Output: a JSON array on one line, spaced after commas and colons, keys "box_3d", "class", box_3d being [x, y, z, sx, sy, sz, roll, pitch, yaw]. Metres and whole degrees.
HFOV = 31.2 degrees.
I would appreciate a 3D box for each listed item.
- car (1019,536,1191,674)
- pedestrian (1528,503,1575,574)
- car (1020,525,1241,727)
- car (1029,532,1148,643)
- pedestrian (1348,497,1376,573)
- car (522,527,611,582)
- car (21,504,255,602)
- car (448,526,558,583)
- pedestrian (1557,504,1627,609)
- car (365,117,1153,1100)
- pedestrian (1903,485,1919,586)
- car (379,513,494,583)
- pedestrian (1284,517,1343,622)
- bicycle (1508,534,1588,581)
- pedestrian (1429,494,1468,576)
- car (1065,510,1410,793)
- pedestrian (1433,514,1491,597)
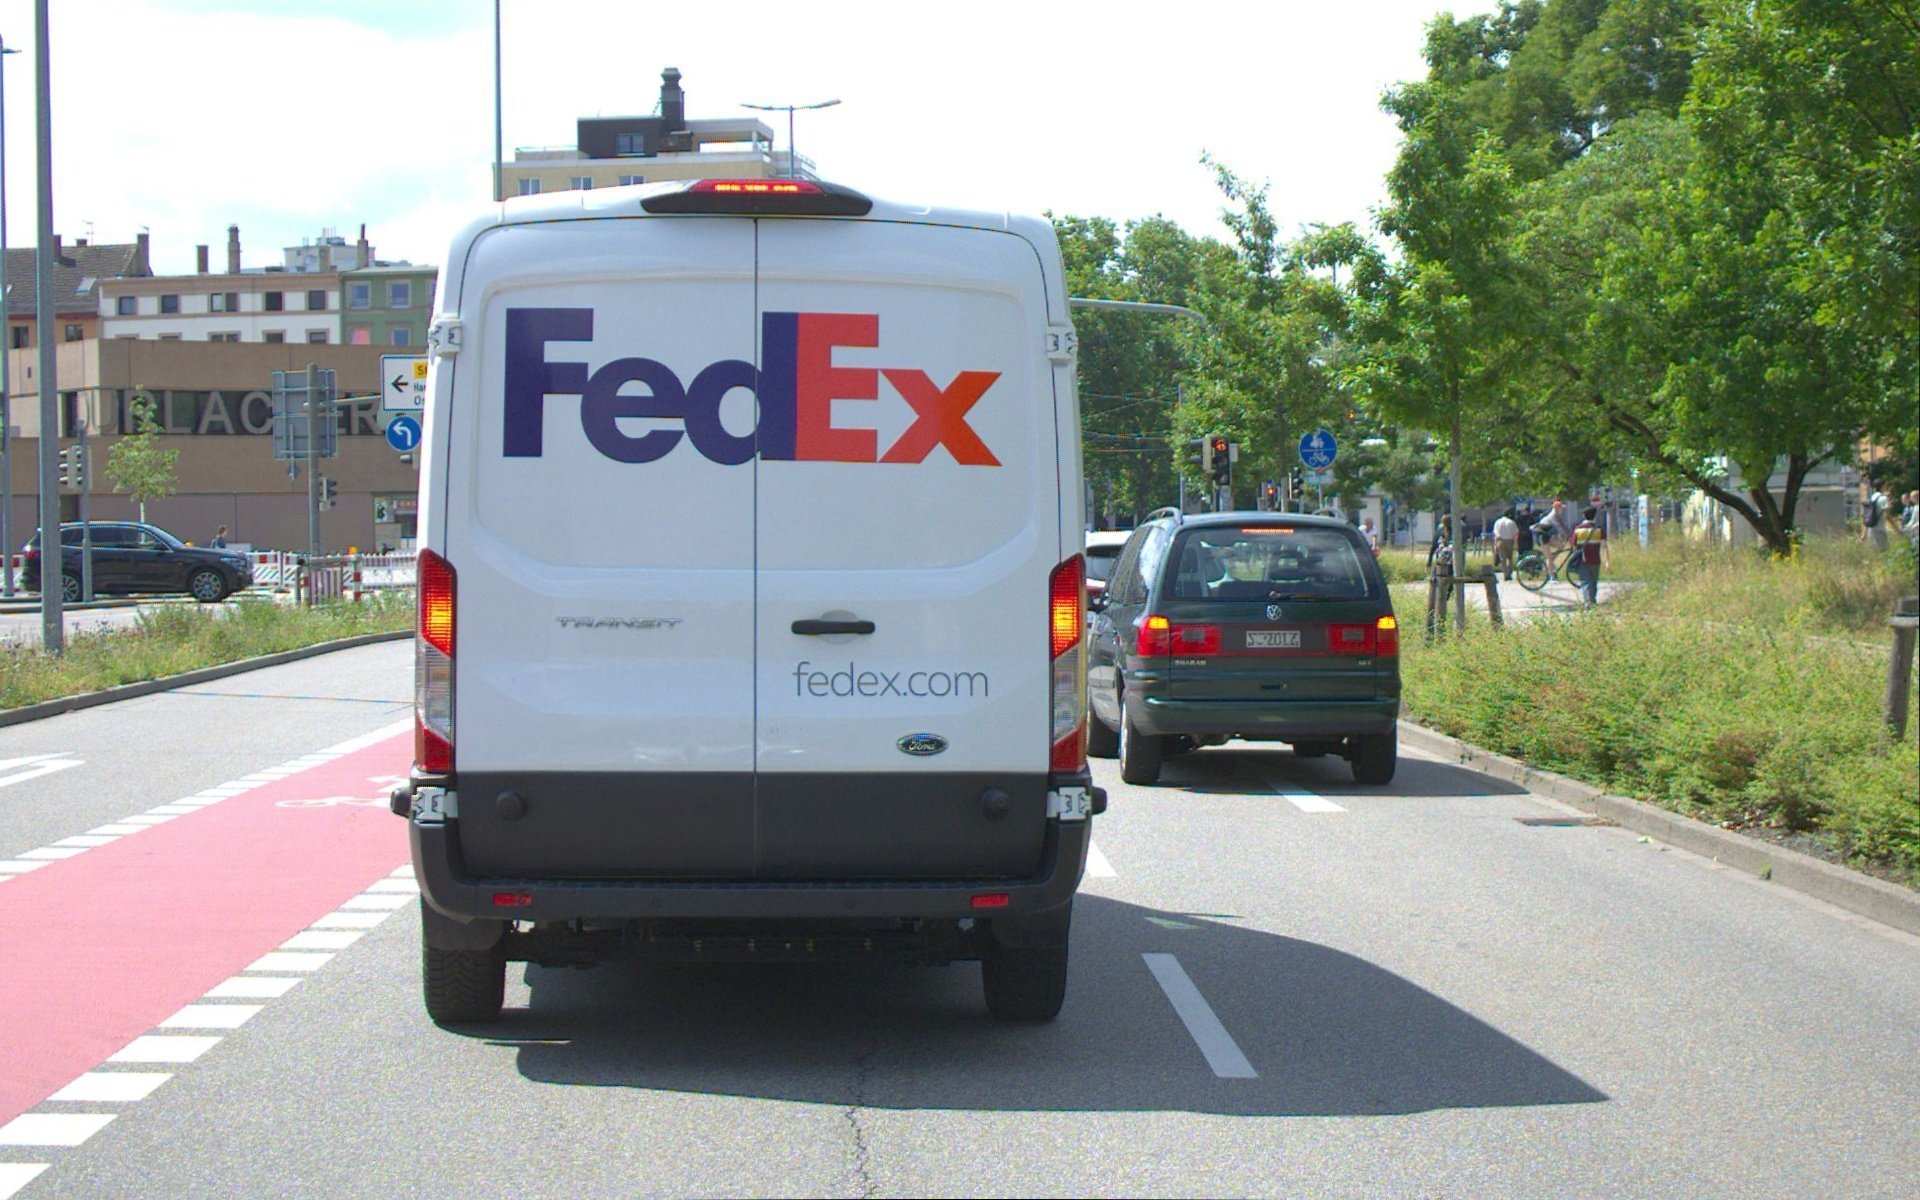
[{"box_3d": [1.615, 0.020, 39.376, 1.798, 1.456, 3.838, -1, 1, 0], "class": "car"}, {"box_3d": [12.281, -1.276, 71.340, 0.900, 1.467, 0.485, 0, 1, 17], "class": "pedestrian"}, {"box_3d": [1.481, 0.177, 31.200, 1.798, 1.681, 4.000, -1, 1, 0], "class": "car"}, {"box_3d": [1.716, -0.202, 46.809, 1.484, 1.423, 3.433, -1, 1, 0], "class": "car"}, {"box_3d": [10.013, -1.620, 85.645, 0.574, 1.886, 0.679, -1, 1, -2], "class": "pedestrian"}, {"box_3d": [-12.145, -1.419, 106.344, 1.879, 1.646, 3.999, -1, 1, 6], "class": "car"}, {"box_3d": [-17.655, -1.018, 74.031, 4.627, 2.007, 2.100, -1, 1, -6], "class": "car"}, {"box_3d": [-13.283, -1.324, 100.127, 1.902, 1.579, 3.998, -1, 1, 12], "class": "car"}, {"box_3d": [9.398, -0.656, 51.127, 0.845, 1.533, 0.835, -1, 1, -2], "class": "pedestrian"}, {"box_3d": [-0.829, -0.028, 12.194, 2.140, 2.643, 5.705, 0, 1, -6], "class": "car"}, {"box_3d": [19.889, -1.328, 70.417, 0.738, 2.051, 0.848, -1, 1, -18], "class": "pedestrian"}, {"box_3d": [-15.386, -1.523, 101.273, 1.994, 2.007, 3.998, -1, 1, 13], "class": "car"}, {"box_3d": [6.376, -0.556, 62.002, 0.950, 1.886, 0.774, -1, 1, -2], "class": "pedestrian"}, {"box_3d": [12.196, -0.885, 71.339, 1.572, 0.952, 0.485, 0, 1, 17], "class": "bicycle"}, {"box_3d": [11.394, -1.519, 80.167, 0.679, 1.886, 0.574, 1, 2, 42], "class": "pedestrian"}, {"box_3d": [1.760, 0.262, 23.183, 1.812, 1.728, 4.389, 0, 1, -2], "class": "car"}, {"box_3d": [8.493, -0.763, 58.162, 0.845, 1.384, 0.741, -1, 1, -2], "class": "pedestrian"}]
